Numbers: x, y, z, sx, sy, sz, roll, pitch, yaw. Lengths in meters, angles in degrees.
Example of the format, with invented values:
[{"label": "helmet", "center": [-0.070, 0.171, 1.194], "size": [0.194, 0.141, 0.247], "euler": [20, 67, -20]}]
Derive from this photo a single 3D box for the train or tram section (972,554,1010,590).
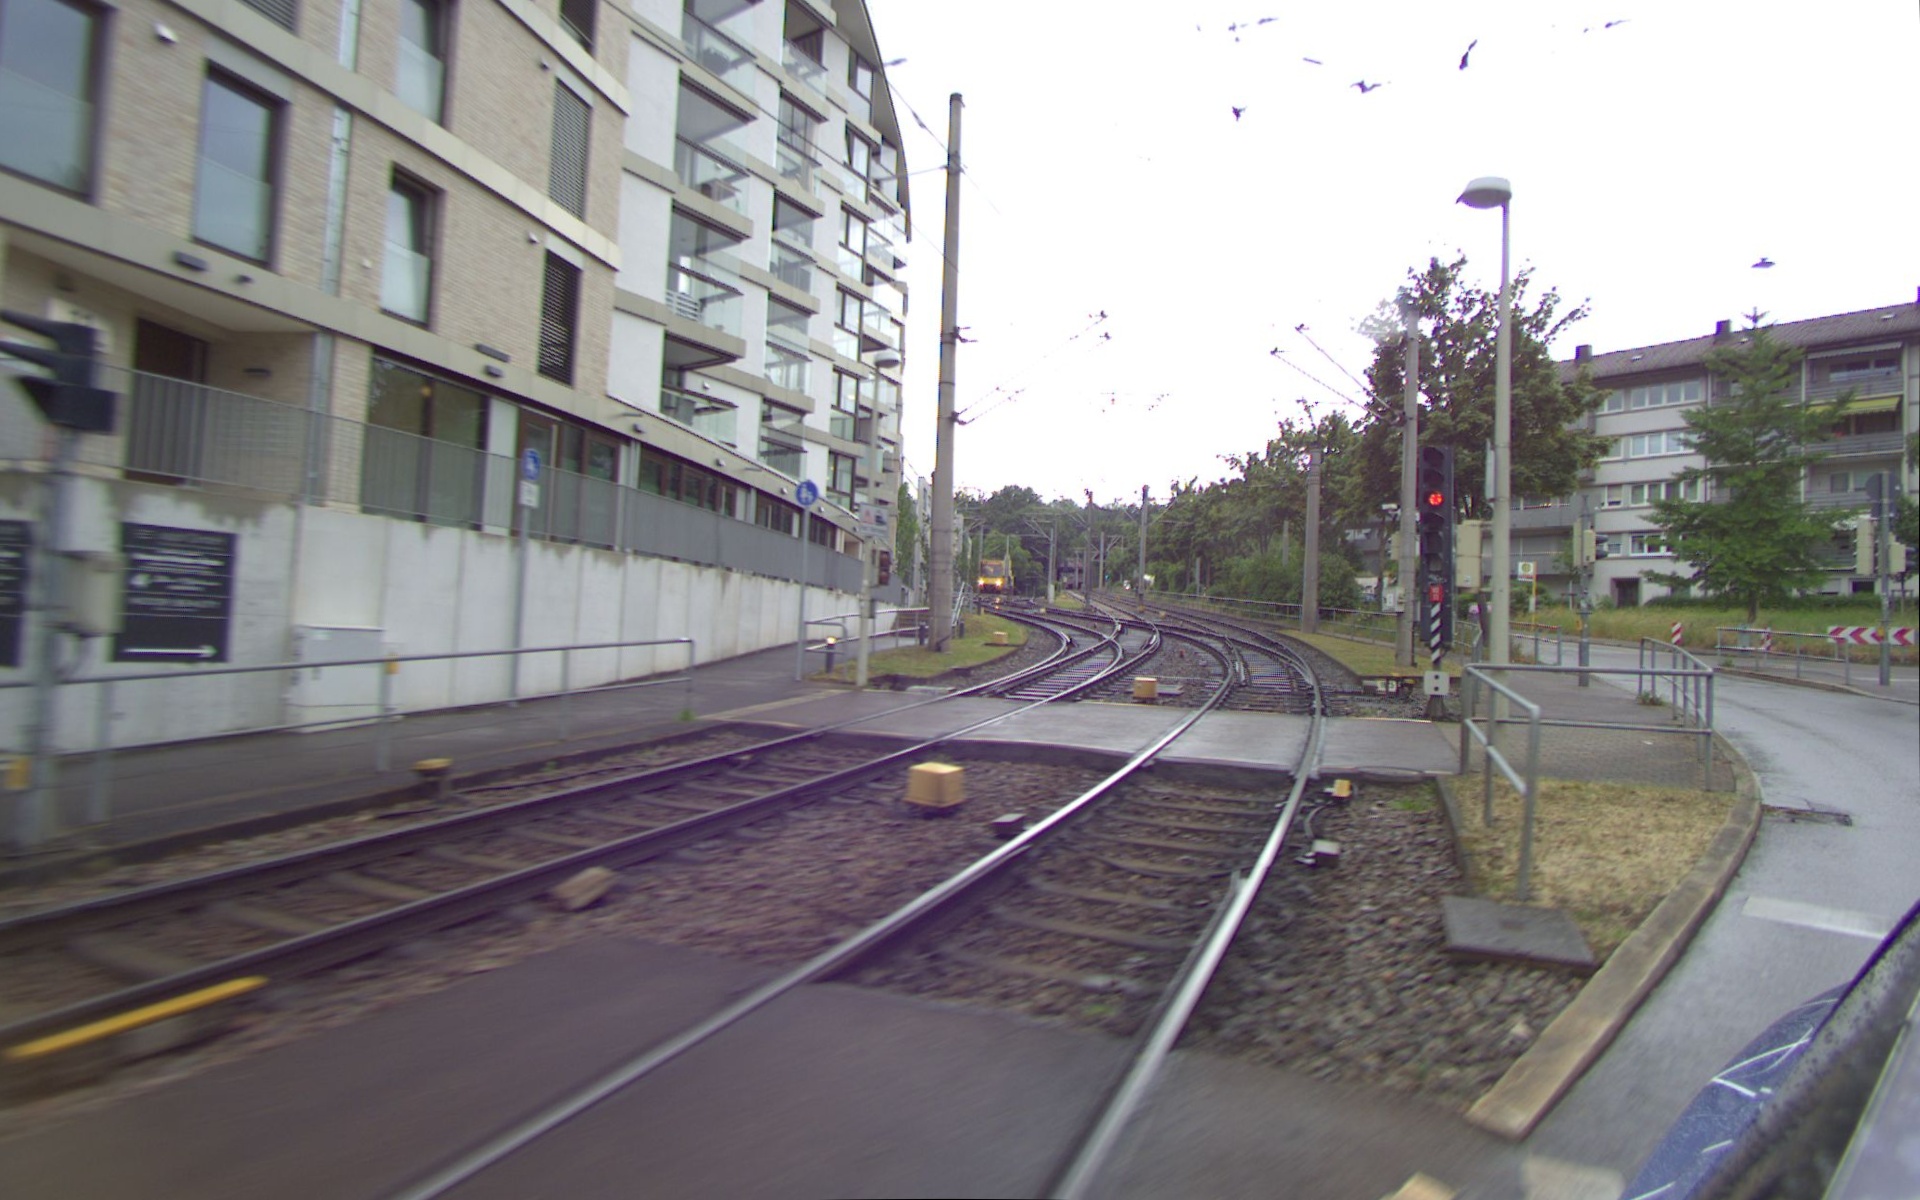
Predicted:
[{"label": "train or tram section", "center": [3.570, -3.024, 111.770], "size": [3.151, 3.605, 14.482], "euler": [2, 1, 5]}]
